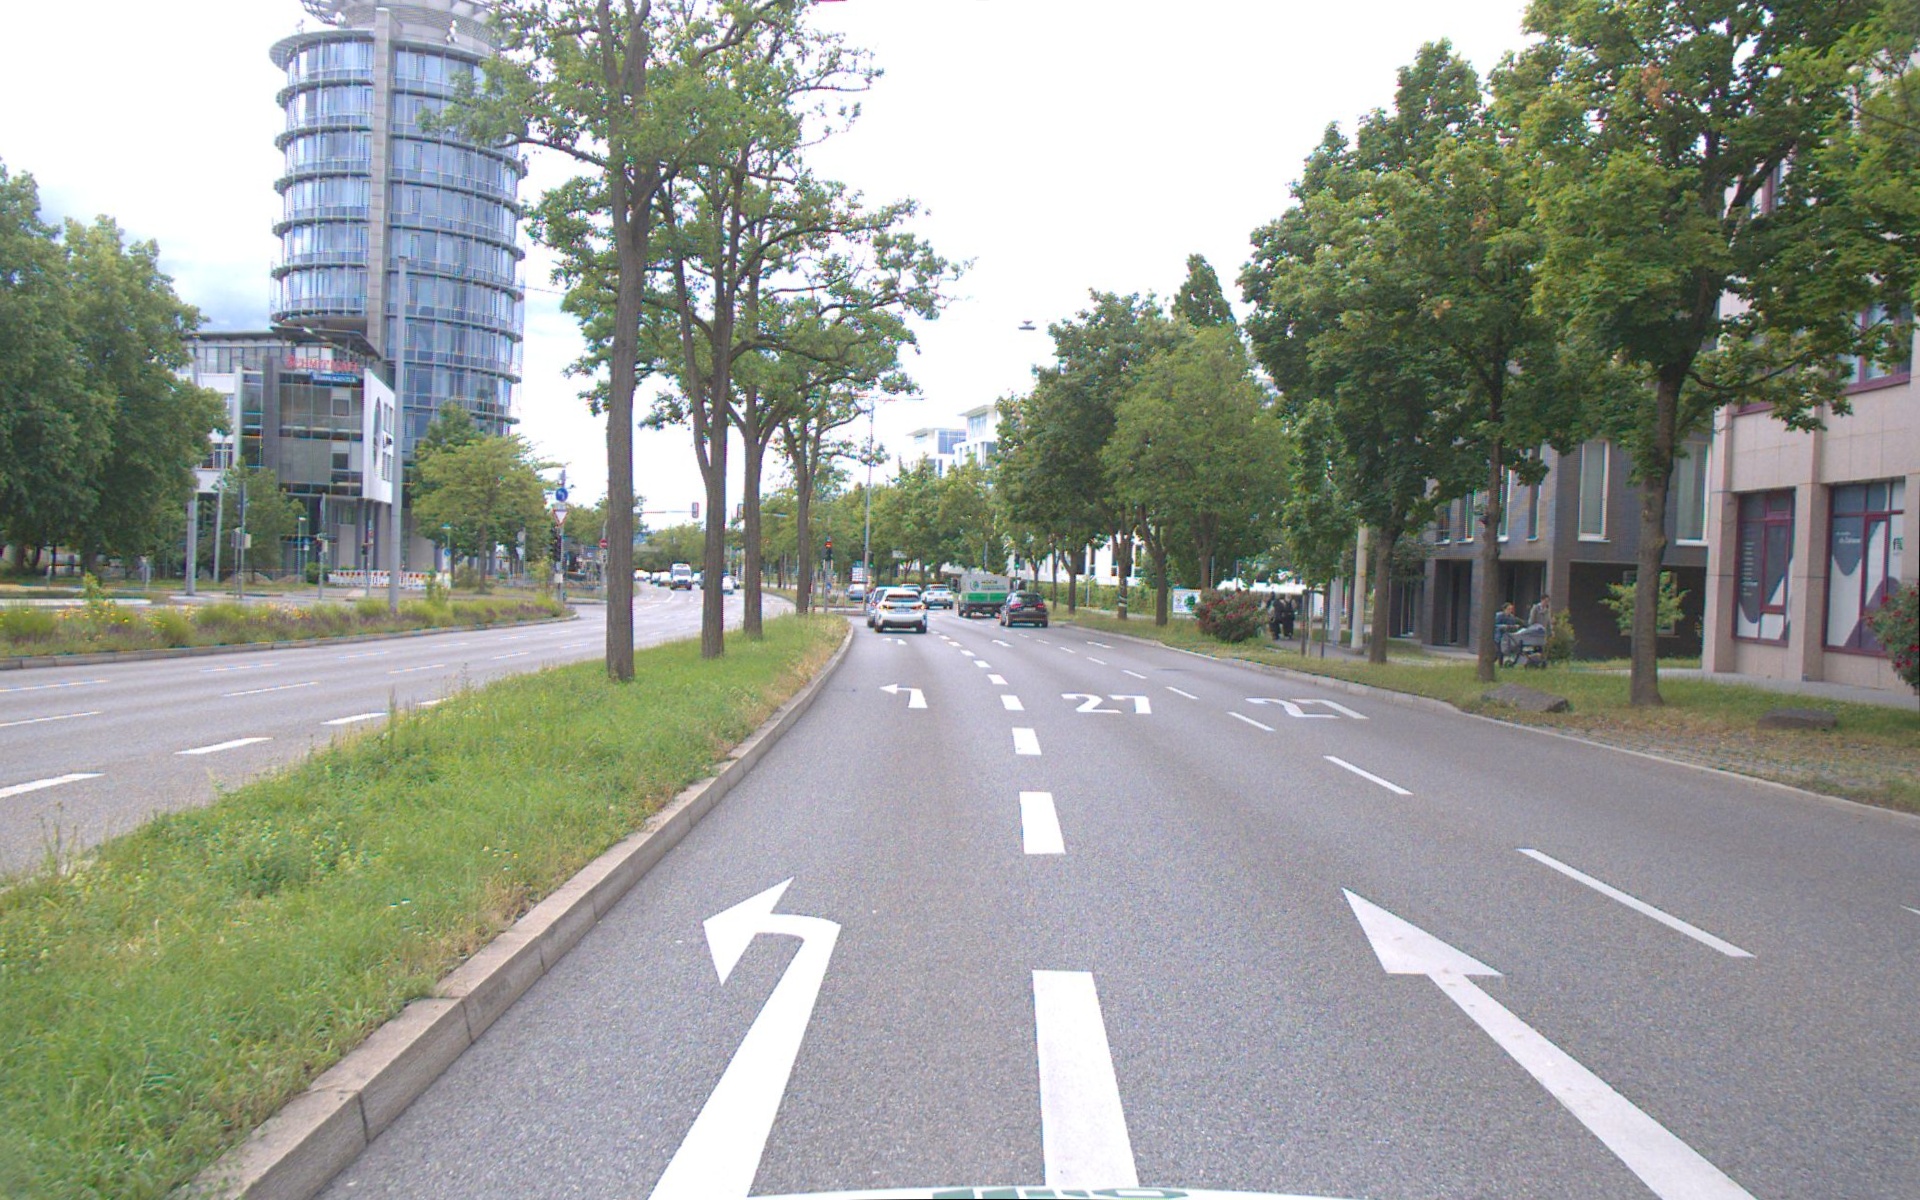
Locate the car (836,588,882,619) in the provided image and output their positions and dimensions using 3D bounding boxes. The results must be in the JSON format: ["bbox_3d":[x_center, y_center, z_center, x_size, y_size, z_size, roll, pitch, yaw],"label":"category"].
[{"bbox_3d":[-5.204,0.195,85.570,1.952,1.534,4.001,2,-1,2],"label":"car"}]

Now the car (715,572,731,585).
[{"bbox_3d":[-34.495,-3.119,240.535,1.954,1.646,3.997,3,0,-4],"label":"car"}]

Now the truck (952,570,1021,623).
[{"bbox_3d":[1.315,-0.140,86.031,2.804,2.563,6.278,2,-1,-6],"label":"truck"}]

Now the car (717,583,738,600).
[{"bbox_3d":[-21.203,-0.786,150.974,1.719,1.469,4.129,3,0,-6],"label":"car"}]

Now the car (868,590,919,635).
[{"bbox_3d":[-2.669,0.496,66.271,1.954,1.701,3.998,2,-1,-3],"label":"car"}]

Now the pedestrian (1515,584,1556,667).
[{"bbox_3d":[12.243,0.538,35.185,0.555,1.729,0.829,2,-1,1],"label":"pedestrian"}]

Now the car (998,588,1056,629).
[{"bbox_3d":[2.813,0.337,70.062,1.955,1.624,3.996,2,0,-5],"label":"car"}]

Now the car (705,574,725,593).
[{"bbox_3d":[-26.103,-1.734,176.605,1.898,1.951,4.966,1,0,-6],"label":"car"}]

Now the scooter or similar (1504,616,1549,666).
[{"bbox_3d":[11.670,0.840,34.058,0.572,1.011,0.845,0,0,-7],"label":"scooter or similar"}]

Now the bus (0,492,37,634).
[{"bbox_3d":[-25.298,-1.000,37.367,2.969,3.515,9.912,3,0,1],"label":"bus"}]

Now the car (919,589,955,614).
[{"bbox_3d":[-1.488,0.077,106.330,1.955,1.534,3.995,1,0,-6],"label":"car"}]

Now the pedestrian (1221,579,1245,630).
[{"bbox_3d":[9.854,0.156,59.699,0.596,1.806,0.953,2,2,-3],"label":"pedestrian"}]

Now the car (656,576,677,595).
[{"bbox_3d":[-34.273,-1.659,193.144,1.955,2.046,4.318,3,0,-6],"label":"car"}]

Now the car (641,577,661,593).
[{"bbox_3d":[-38.915,-1.883,208.440,1.955,1.885,4.318,3,0,-6],"label":"car"}]

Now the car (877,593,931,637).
[{"bbox_3d":[-1.987,0.544,59.176,1.825,1.474,3.999,2,-1,-1],"label":"car"}]

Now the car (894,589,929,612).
[{"bbox_3d":[-3.504,0.040,119.108,1.957,1.534,3.991,2,0,-10],"label":"car"}]

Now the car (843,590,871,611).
[{"bbox_3d":[-7.889,0.054,126.375,1.955,1.517,3.995,2,0,-6],"label":"car"}]

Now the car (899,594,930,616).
[{"bbox_3d":[-3.394,0.355,122.291,1.955,1.517,3.995,2,0,-6],"label":"car"}]

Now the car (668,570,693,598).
[{"bbox_3d":[-28.884,-1.641,171.057,1.955,2.680,5.867,3,0,-6],"label":"car"}]

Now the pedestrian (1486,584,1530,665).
[{"bbox_3d":[11.578,0.517,34.973,0.544,1.681,0.960,0,0,-7],"label":"pedestrian"}]
